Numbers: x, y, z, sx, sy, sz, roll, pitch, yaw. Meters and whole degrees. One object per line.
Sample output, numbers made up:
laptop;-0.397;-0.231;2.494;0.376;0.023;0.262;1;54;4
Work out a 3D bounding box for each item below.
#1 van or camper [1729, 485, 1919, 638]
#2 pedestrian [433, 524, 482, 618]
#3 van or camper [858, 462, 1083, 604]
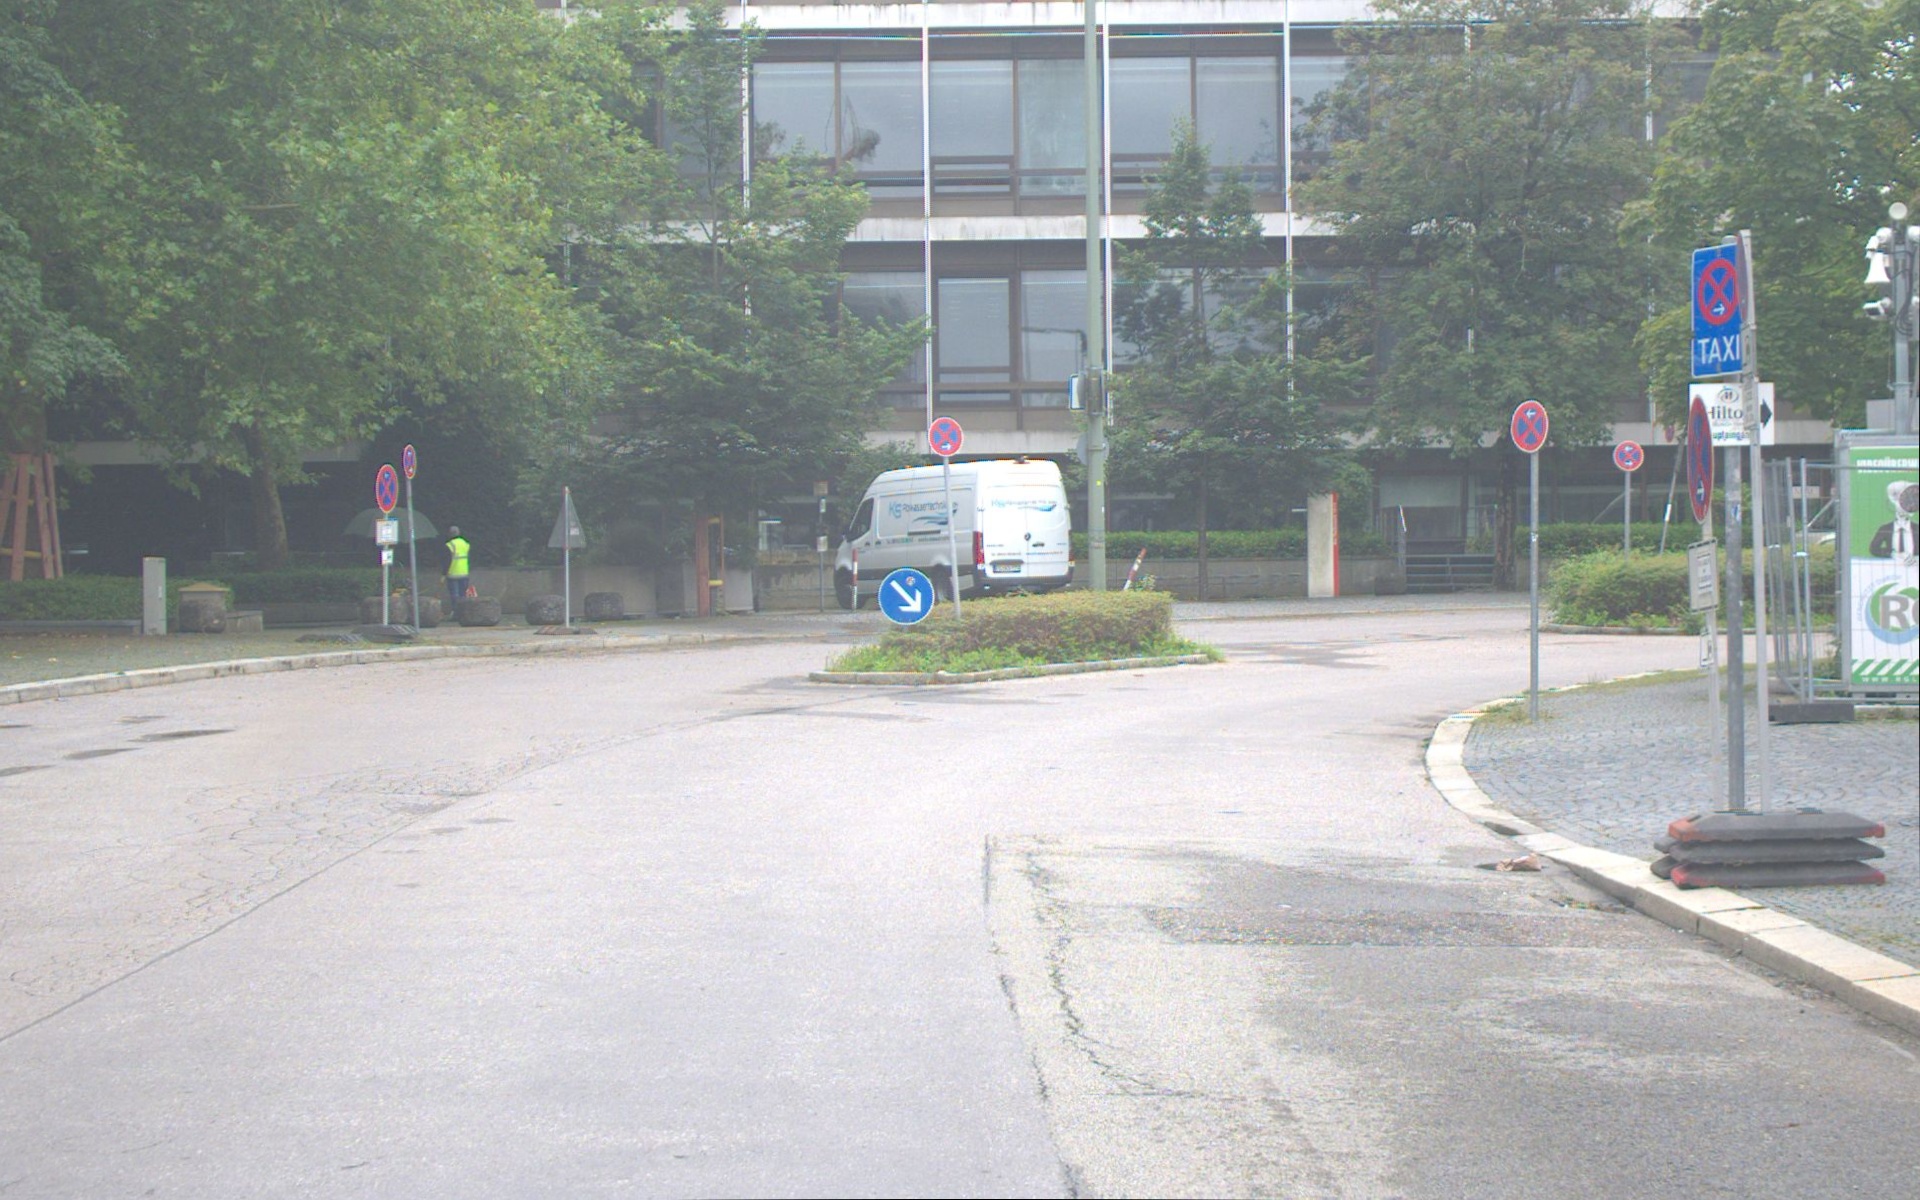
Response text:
van or camper;15.931;-0.693;59.952;4.449;2.577;2.109;-1;1;-10
pedestrian;-8.999;-0.524;61.571;0.741;1.671;0.682;-1;1;-19
van or camper;0.132;-1.227;62.822;2.085;2.483;5.068;-1;1;-26
